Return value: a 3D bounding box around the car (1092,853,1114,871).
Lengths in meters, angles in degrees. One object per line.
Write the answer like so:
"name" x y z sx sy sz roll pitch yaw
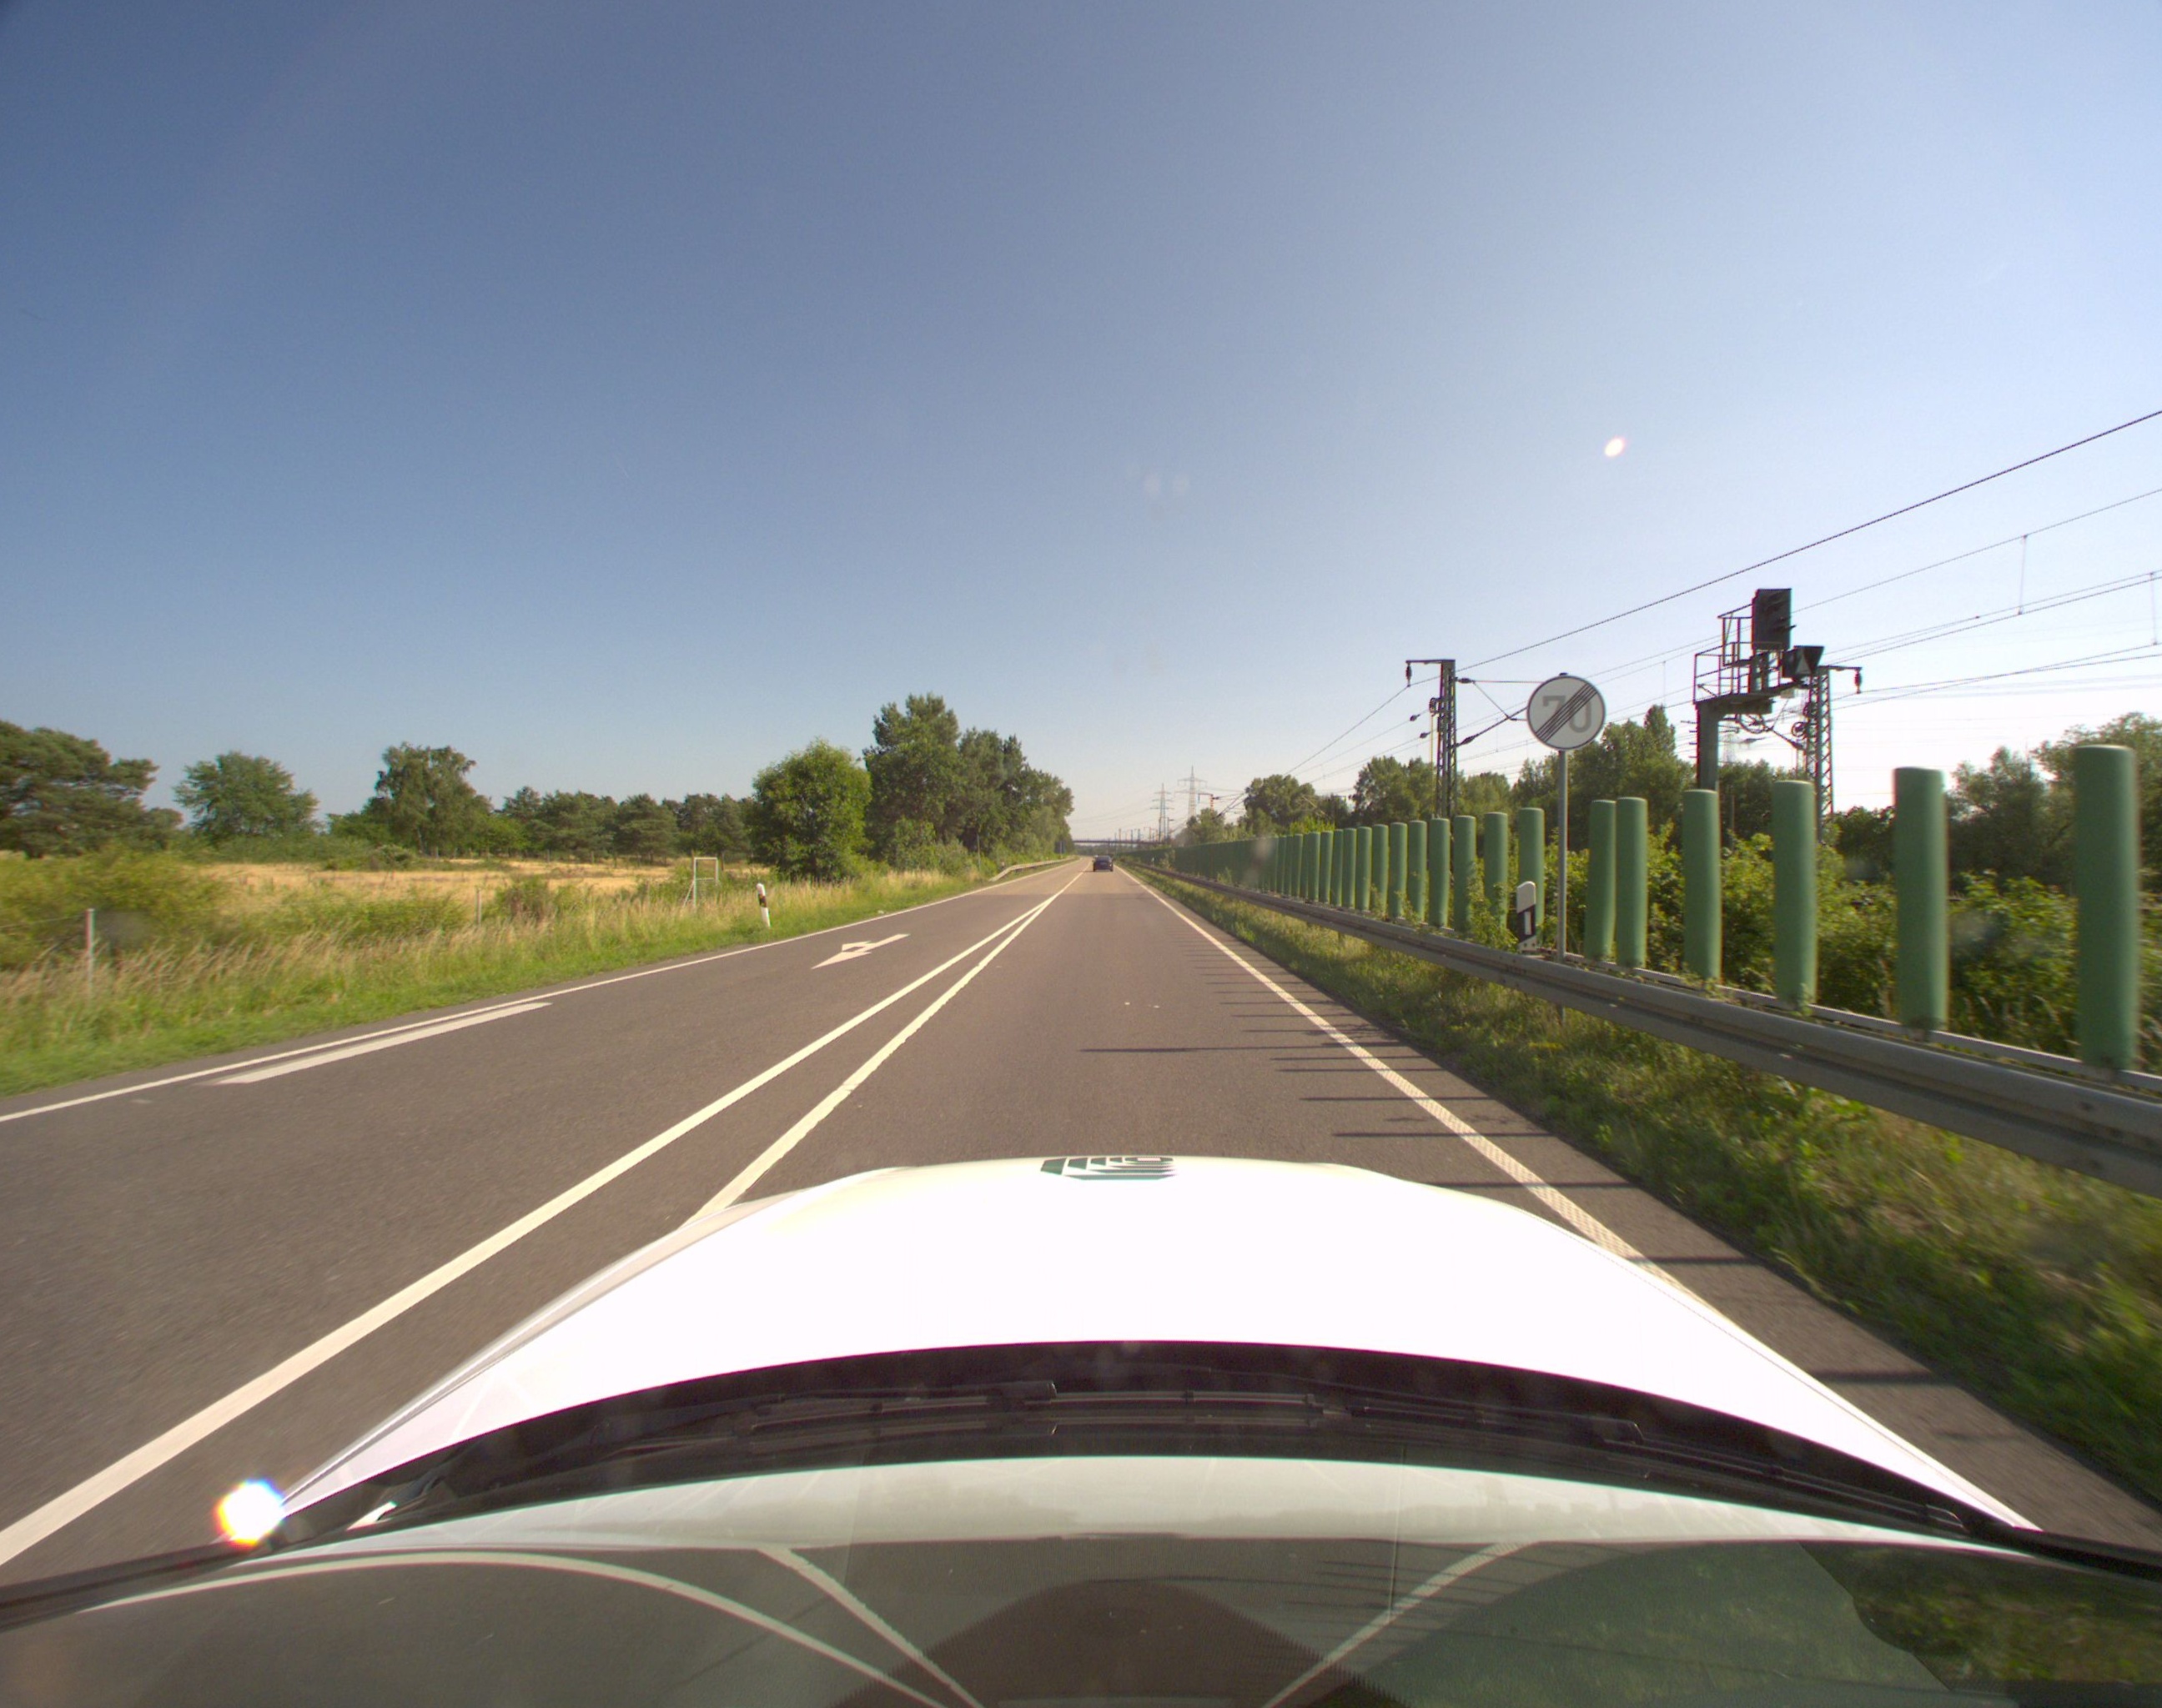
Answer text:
"car" 1.983 0.709 74.708 1.852 1.642 4.000 -1 0 0
